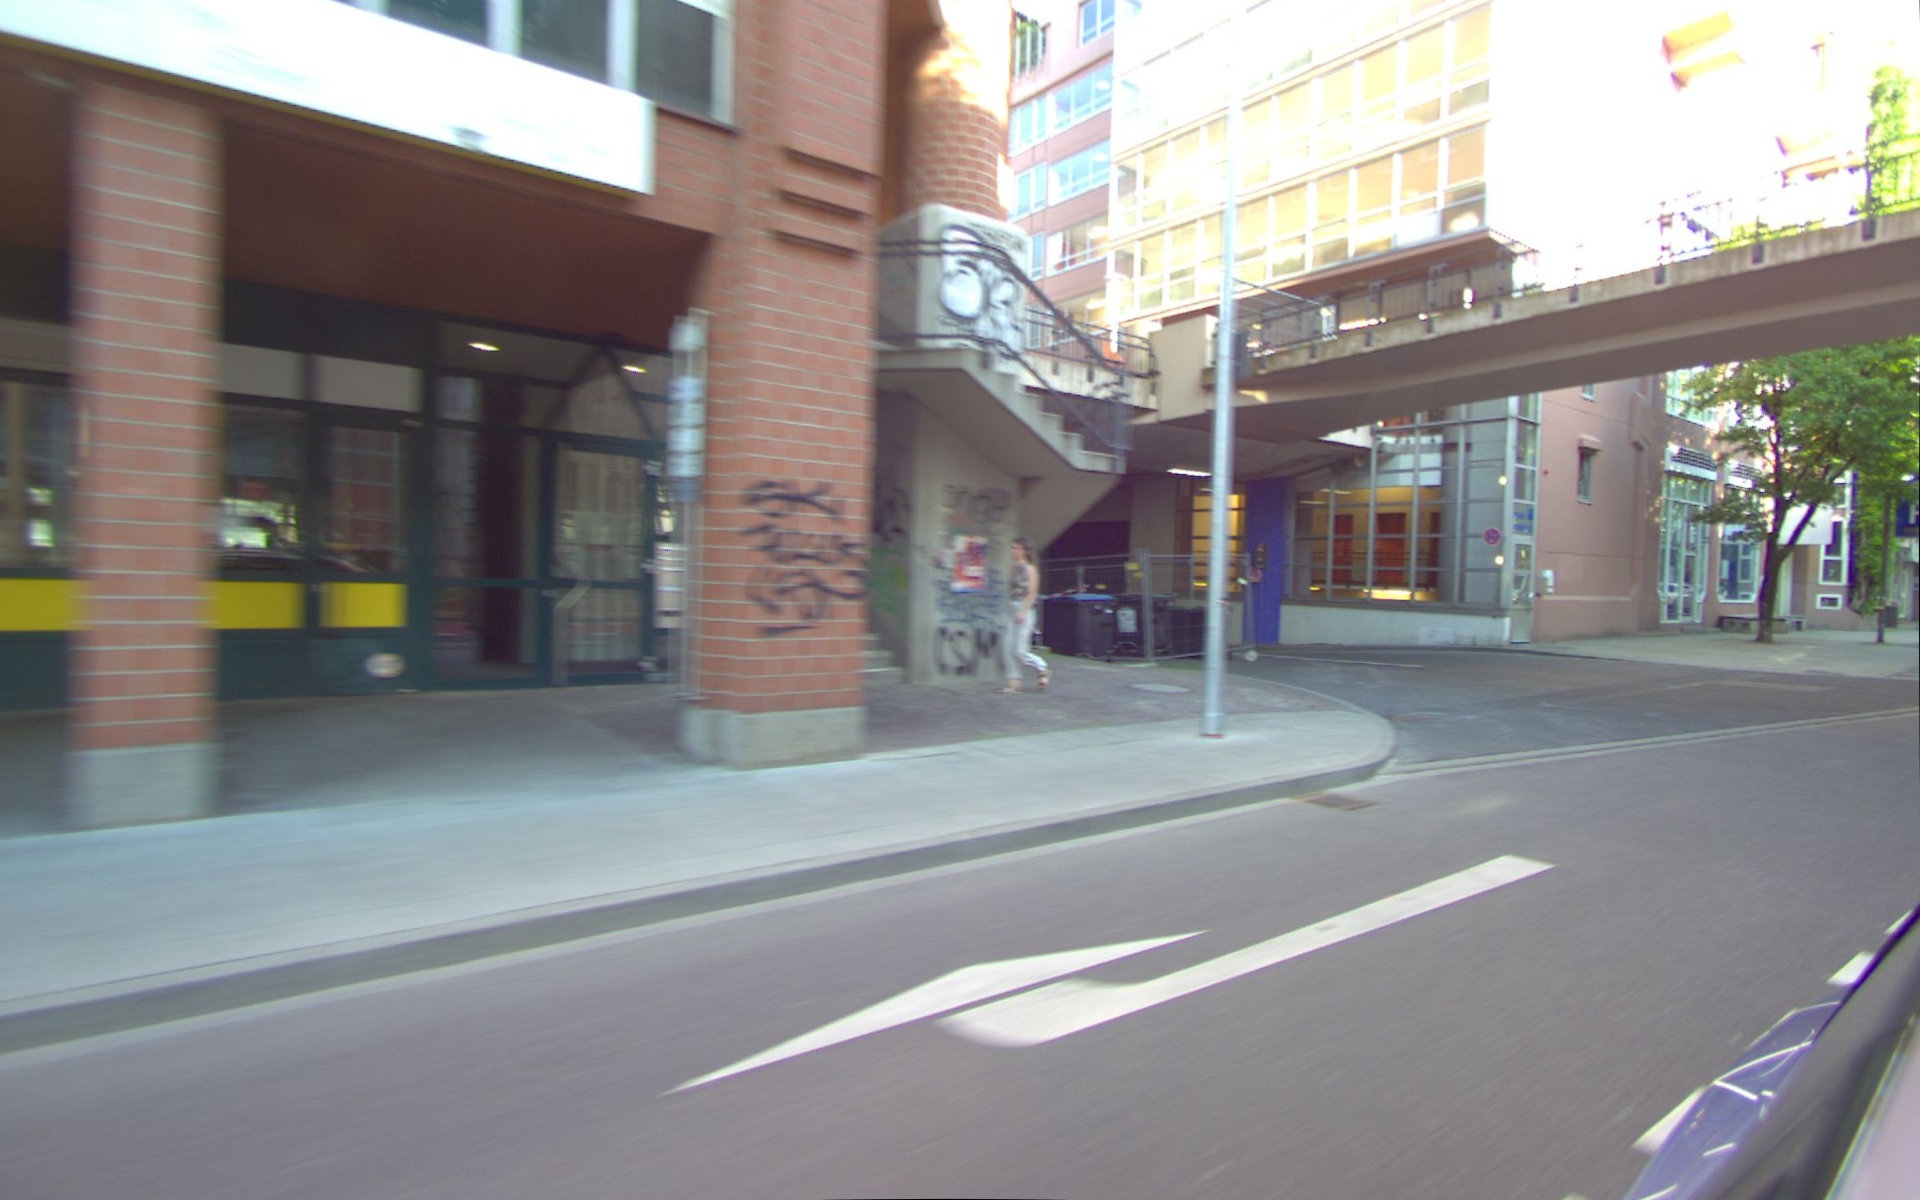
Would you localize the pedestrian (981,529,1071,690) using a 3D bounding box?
[{"bbox_3d":[0.710,0.087,10.897,0.763,1.653,0.570,0,1,-38],"label":"pedestrian"}]
